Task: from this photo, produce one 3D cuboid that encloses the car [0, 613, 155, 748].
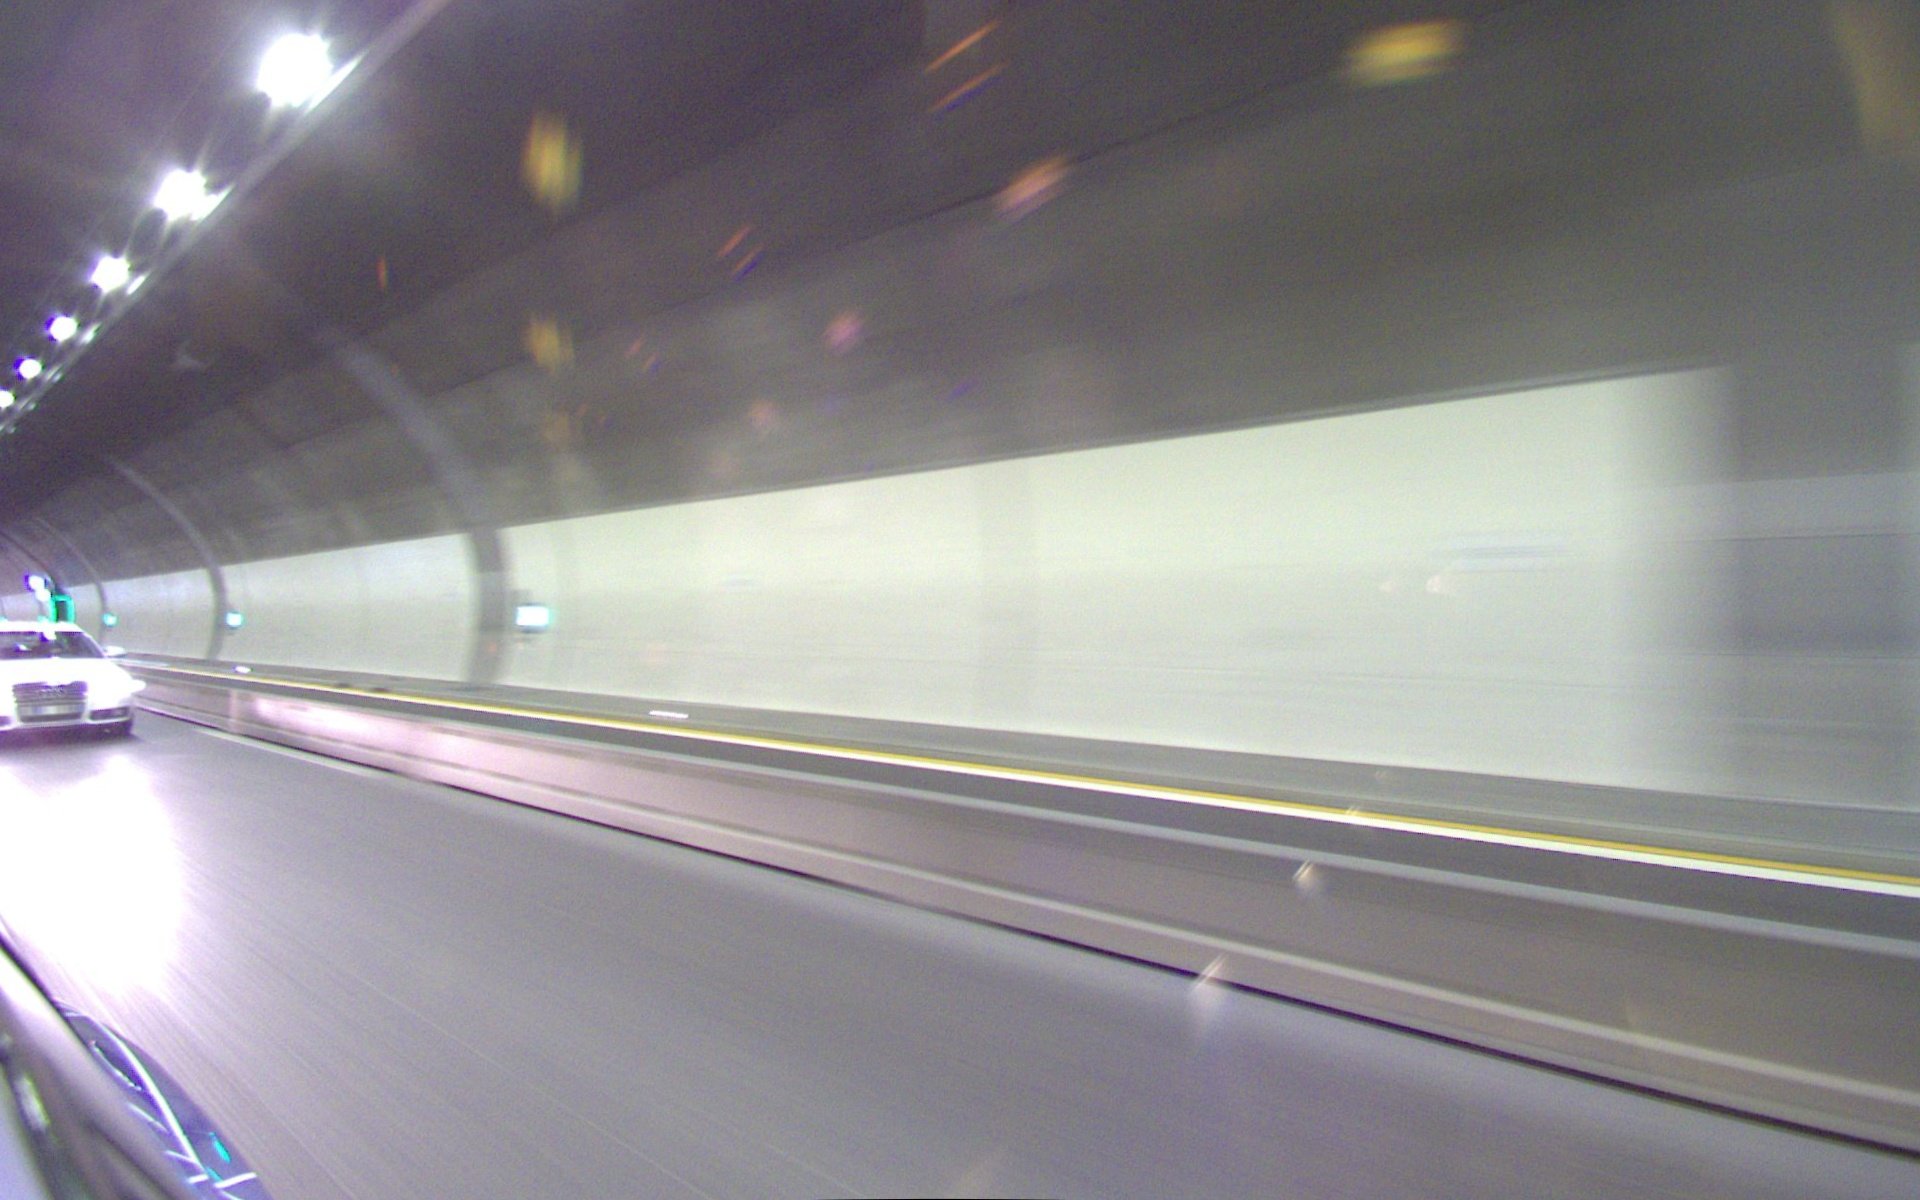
[{"bbox_3d":[-12.268,0.964,13.189,4.940,1.496,1.884,-2,-2,40],"label":"car"}]
